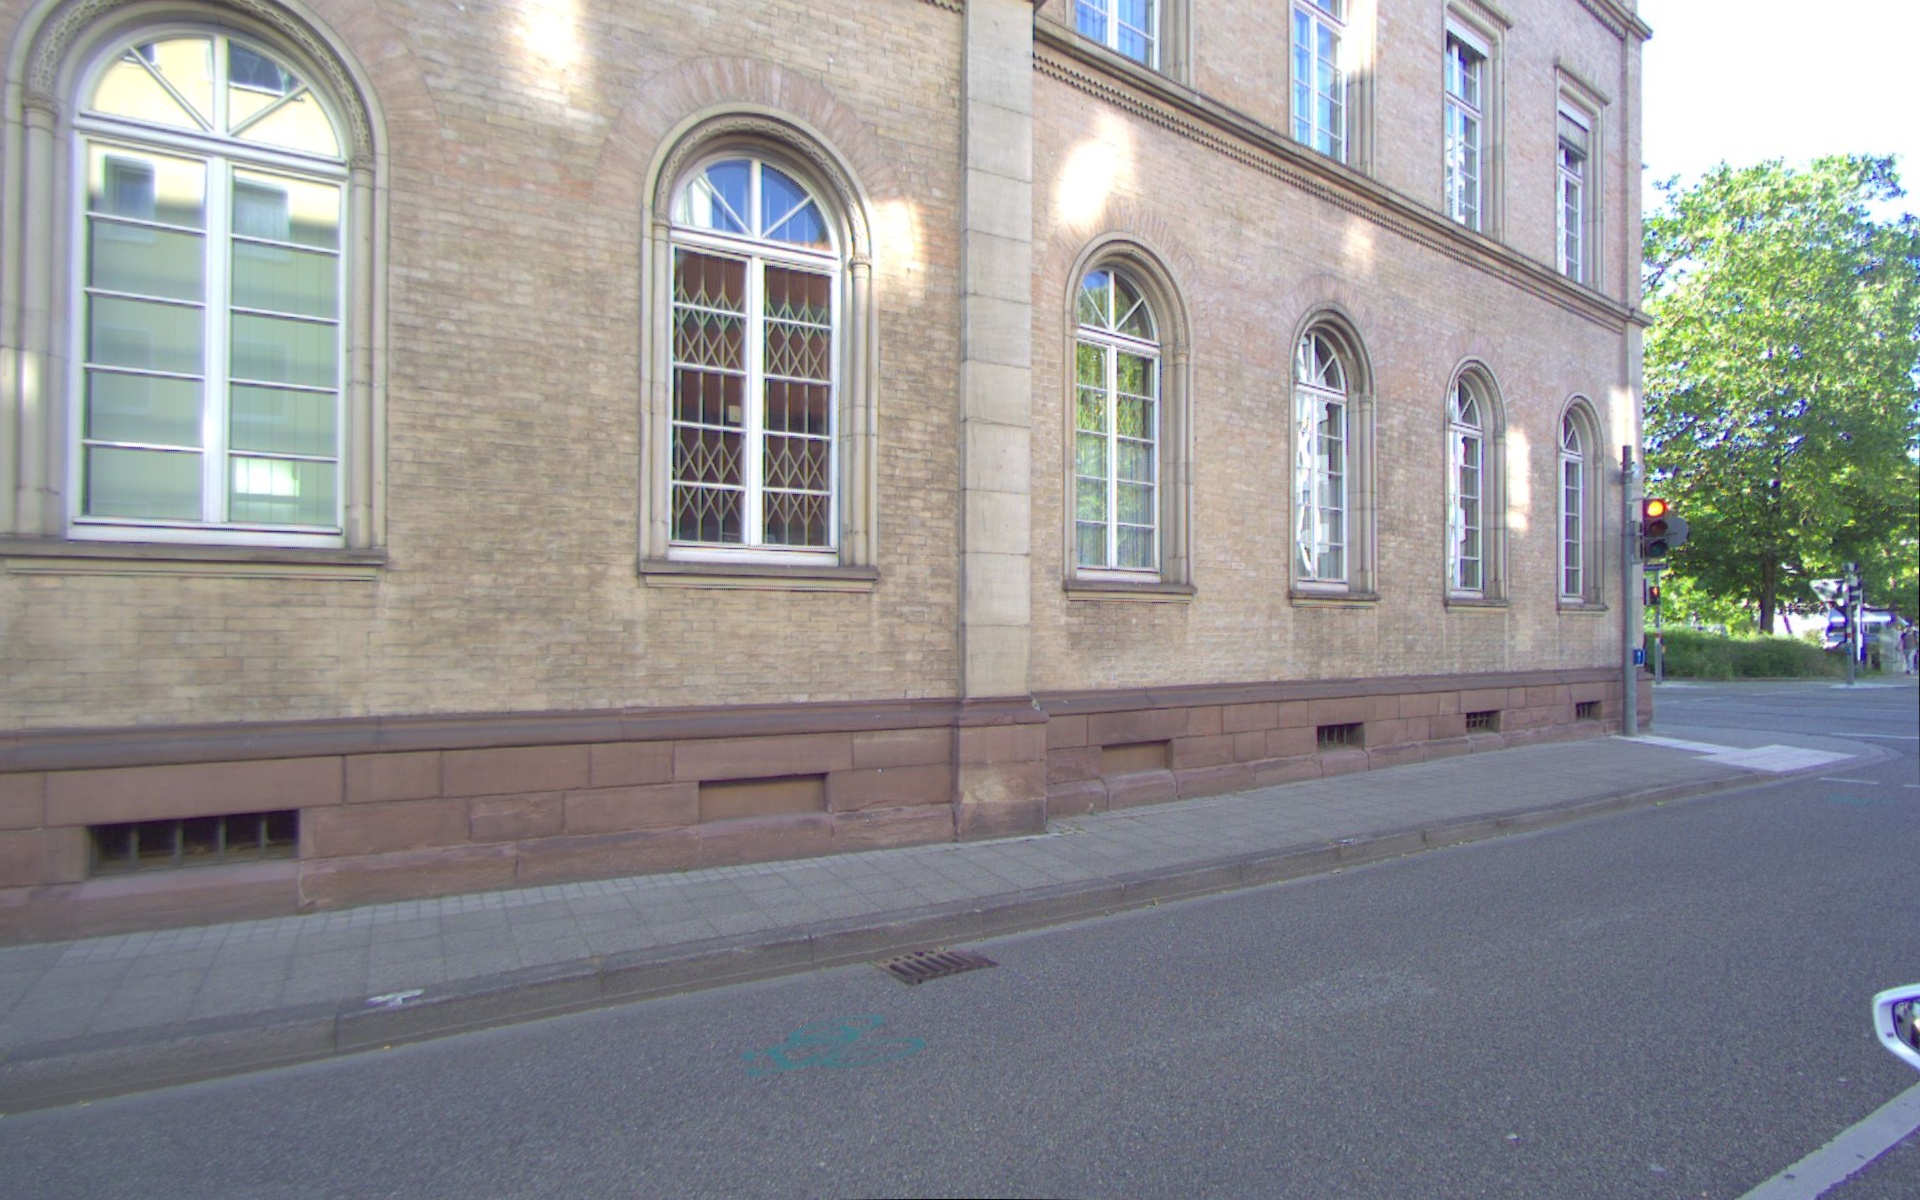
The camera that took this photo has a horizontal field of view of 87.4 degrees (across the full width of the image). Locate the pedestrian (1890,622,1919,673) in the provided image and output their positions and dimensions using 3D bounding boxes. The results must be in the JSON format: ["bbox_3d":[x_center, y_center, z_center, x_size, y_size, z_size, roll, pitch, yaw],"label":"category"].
[{"bbox_3d":[32.870,1.636,34.888,0.947,1.745,0.697,2,-3,-40],"label":"pedestrian"}]

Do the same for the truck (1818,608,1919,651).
[{"bbox_3d":[53.773,1.671,59.078,2.069,2.431,4.790,1,-1,-39],"label":"truck"}]

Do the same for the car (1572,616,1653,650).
[{"bbox_3d":[47.847,2.475,73.731,2.056,2.423,4.521,2,-3,-38],"label":"car"}]
